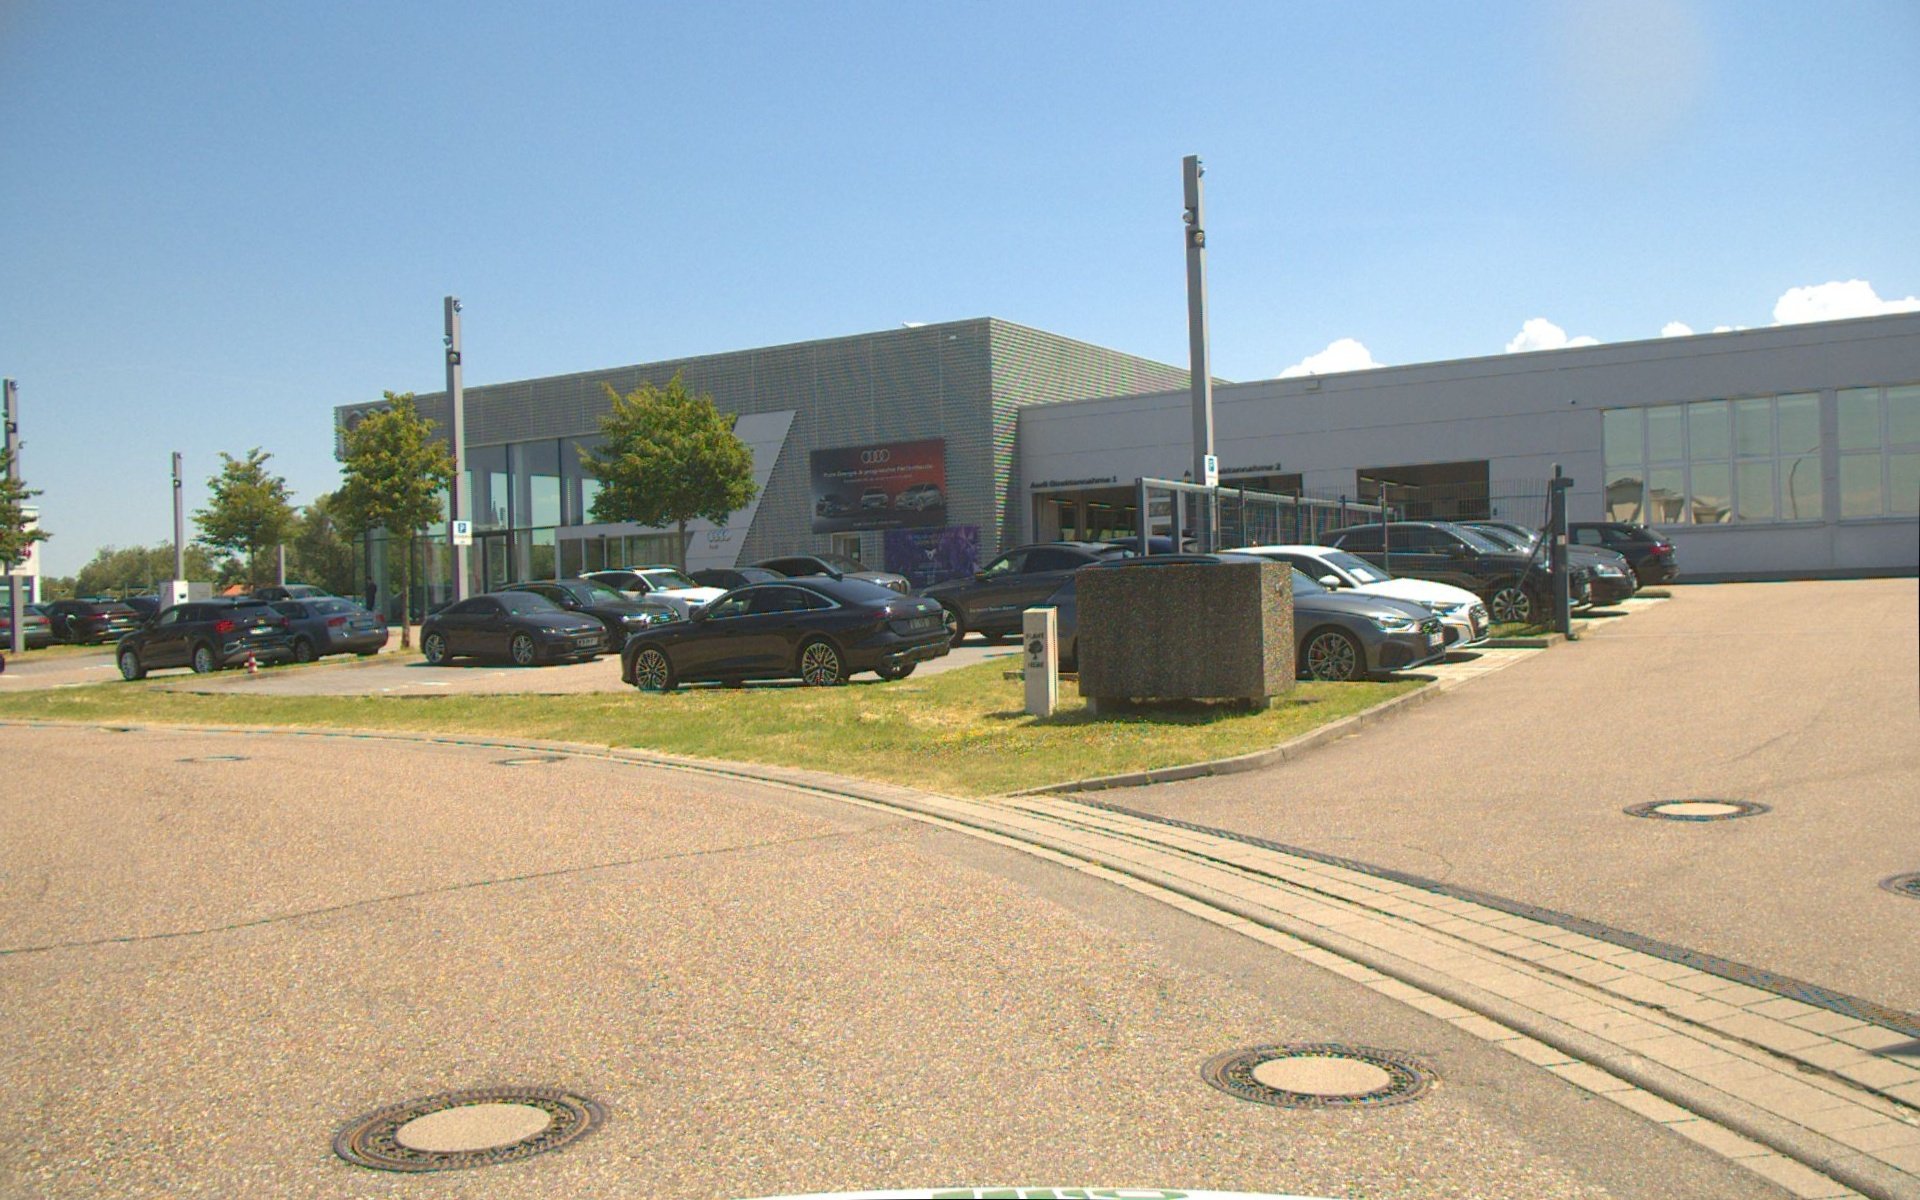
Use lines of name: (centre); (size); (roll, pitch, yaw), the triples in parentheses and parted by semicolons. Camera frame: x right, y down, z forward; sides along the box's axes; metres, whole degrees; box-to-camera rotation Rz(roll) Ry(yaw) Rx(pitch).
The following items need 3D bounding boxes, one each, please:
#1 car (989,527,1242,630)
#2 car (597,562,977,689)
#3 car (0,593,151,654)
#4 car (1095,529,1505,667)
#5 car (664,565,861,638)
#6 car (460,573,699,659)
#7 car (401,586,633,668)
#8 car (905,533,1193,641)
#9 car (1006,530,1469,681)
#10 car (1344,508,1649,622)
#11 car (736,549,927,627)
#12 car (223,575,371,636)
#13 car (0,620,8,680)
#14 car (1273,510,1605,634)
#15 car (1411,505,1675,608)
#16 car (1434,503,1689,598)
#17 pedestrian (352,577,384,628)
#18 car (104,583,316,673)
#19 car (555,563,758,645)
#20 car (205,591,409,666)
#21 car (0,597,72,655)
car: (2.895, -0.379, 31.065); (4.321, 1.724, 1.827); (-2, 0, 31)
car: (-2.392, 0.359, 22.351); (4.914, 1.479, 1.882); (-2, 2, 31)
car: (-26.754, 0.719, 49.758); (4.879, 1.482, 1.964); (-4, 0, 32)
car: (4.354, -0.005, 21.451); (4.837, 1.555, 1.822); (-2, 2, 31)
car: (-4.693, 0.036, 39.214); (4.277, 1.502, 1.964); (-2, 2, 31)
car: (-8.095, 0.349, 35.108); (4.897, 1.580, 1.964); (-2, 2, 31)
car: (-8.703, 0.538, 32.440); (4.218, 1.398, 1.964); (-2, 2, 31)
car: (1.515, -0.197, 28.816); (4.682, 1.672, 1.827); (-2, 0, 31)
car: (3.133, 0.086, 18.994); (4.837, 1.493, 1.964); (-2, 2, 31)
car: (8.998, -0.579, 27.813); (4.526, 1.658, 1.964); (-2, 2, 31)
car: (-3.364, -0.303, 43.100); (4.626, 1.769, 1.964); (-2, 2, 31)
car: (-22.062, 0.197, 54.978); (4.879, 1.648, 1.964); (-4, 0, 32)
car: (-24.817, 1.262, 39.117); (4.619, 1.390, 1.964); (-1, 4, 32)
car: (7.334, -0.416, 25.422); (4.526, 1.658, 1.964); (-2, 2, 31)
car: (10.771, -0.794, 30.620); (4.283, 1.658, 1.964); (-2, 2, 31)
car: (12.134, -0.996, 33.430); (4.526, 1.658, 1.964); (-2, 2, 31)
pedestrian: (-21.825, 0.088, 61.023); (0.730, 1.807, 0.770); (-3, 0, 36)
car: (-15.479, 0.585, 34.110); (4.135, 1.598, 1.890); (-2, 3, 31)
car: (-6.868, 0.092, 37.379); (4.195, 1.641, 1.964); (-2, 2, 31)
car: (-14.276, 0.621, 36.136); (4.135, 1.390, 1.965); (-2, 3, 31)
car: (-28.080, 0.862, 47.885); (4.879, 1.482, 1.964); (-4, 0, 32)
